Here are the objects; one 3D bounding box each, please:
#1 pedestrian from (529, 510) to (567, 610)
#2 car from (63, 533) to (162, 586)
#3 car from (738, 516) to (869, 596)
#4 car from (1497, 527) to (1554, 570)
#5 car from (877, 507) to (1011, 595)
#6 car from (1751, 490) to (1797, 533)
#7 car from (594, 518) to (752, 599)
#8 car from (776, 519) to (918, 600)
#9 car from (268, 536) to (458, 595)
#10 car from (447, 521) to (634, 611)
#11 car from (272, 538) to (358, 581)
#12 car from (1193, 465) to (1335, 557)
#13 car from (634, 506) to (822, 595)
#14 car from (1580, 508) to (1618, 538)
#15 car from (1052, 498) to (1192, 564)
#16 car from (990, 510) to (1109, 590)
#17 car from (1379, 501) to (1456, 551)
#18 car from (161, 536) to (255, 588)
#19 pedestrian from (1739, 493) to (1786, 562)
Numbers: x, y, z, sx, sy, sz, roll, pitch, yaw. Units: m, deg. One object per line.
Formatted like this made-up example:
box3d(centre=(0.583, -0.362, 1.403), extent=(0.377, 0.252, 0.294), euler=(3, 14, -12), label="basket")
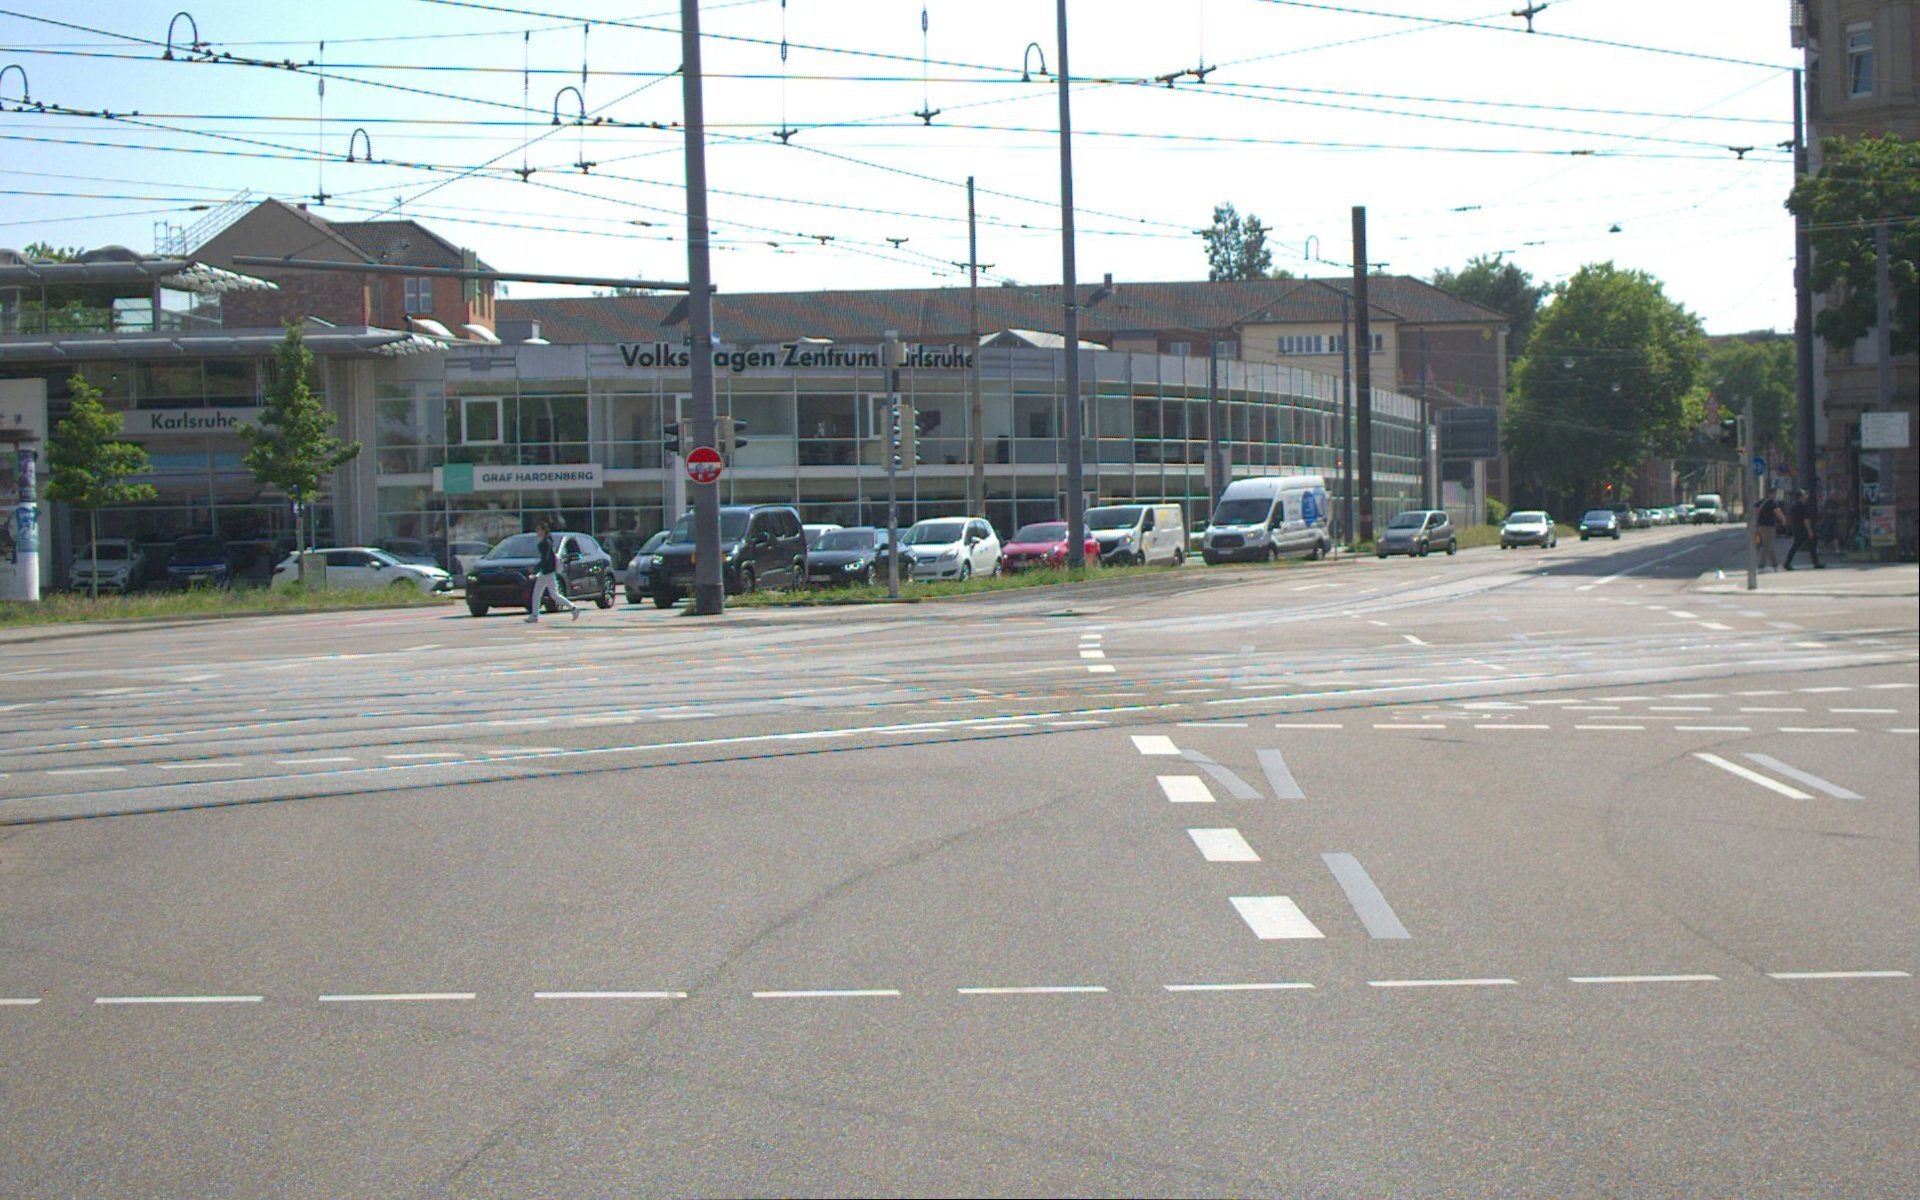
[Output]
box3d(centre=(-6.654, -0.647, 55.562), extent=(0.453, 1.599, 0.400), euler=(1, 0, -36), label="pedestrian")
box3d(centre=(-24.708, -1.195, 100.387), extent=(1.993, 1.481, 4.001), euler=(-1, 1, -2), label="car")
box3d(centre=(-3.525, -0.987, 78.111), extent=(1.653, 1.733, 4.197), euler=(-1, 0, 17), label="car")
box3d(centre=(21.927, -2.009, 133.212), extent=(1.386, 1.619, 3.336), euler=(1, 2, 24), label="car")
box3d(centre=(-0.327, -1.091, 78.431), extent=(1.896, 1.910, 4.197), euler=(-1, 0, 17), label="car")
box3d(centre=(39.219, -4.285, 165.551), extent=(2.110, 2.007, 3.998), euler=(-1, 1, 14), label="car")
box3d(centre=(-5.870, -0.831, 70.790), extent=(1.896, 1.582, 3.997), euler=(-1, 0, 17), label="car")
box3d(centre=(-2.302, -0.826, 71.141), extent=(1.895, 1.582, 3.997), euler=(-1, 0, 14), label="car")
box3d(centre=(-15.281, -0.877, 88.001), extent=(4.587, 1.431, 1.443), euler=(1, 0, 13), label="car")
box3d(centre=(-7.767, -0.620, 63.981), extent=(1.893, 1.582, 4.207), euler=(-1, 0, 17), label="car")
box3d(centre=(-18.731, -1.190, 99.970), extent=(1.830, 1.191, 4.000), euler=(1, 1, -2), label="car")
box3d(centre=(9.005, -2.599, 101.471), extent=(2.211, 2.566, 5.867), euler=(1, 1, 26), label="car")
box3d(centre=(-4.304, -0.953, 64.588), extent=(1.962, 1.582, 4.713), euler=(-1, 1, 17), label="car")
box3d(centre=(31.425, -3.792, 169.015), extent=(1.385, 1.409, 3.010), euler=(1, 1, 19), label="car")
box3d(centre=(4.399, -1.882, 92.411), extent=(2.188, 1.675, 5.024), euler=(-1, 1, 22), label="car")
box3d(centre=(2.245, -1.218, 85.328), extent=(1.896, 1.910, 4.197), euler=(-1, 0, 17), label="car")
box3d(centre=(15.695, -2.517, 117.821), extent=(1.386, 1.651, 3.754), euler=(1, 1, 27), label="car")
box3d(centre=(-21.924, -1.119, 100.359), extent=(1.993, 1.481, 4.000), euler=(1, 1, -2), label="car")
box3d(centre=(16.614, -1.498, 71.157), extent=(0.612, 1.428, 0.712), euler=(0, 0, -38), label="pedestrian")
